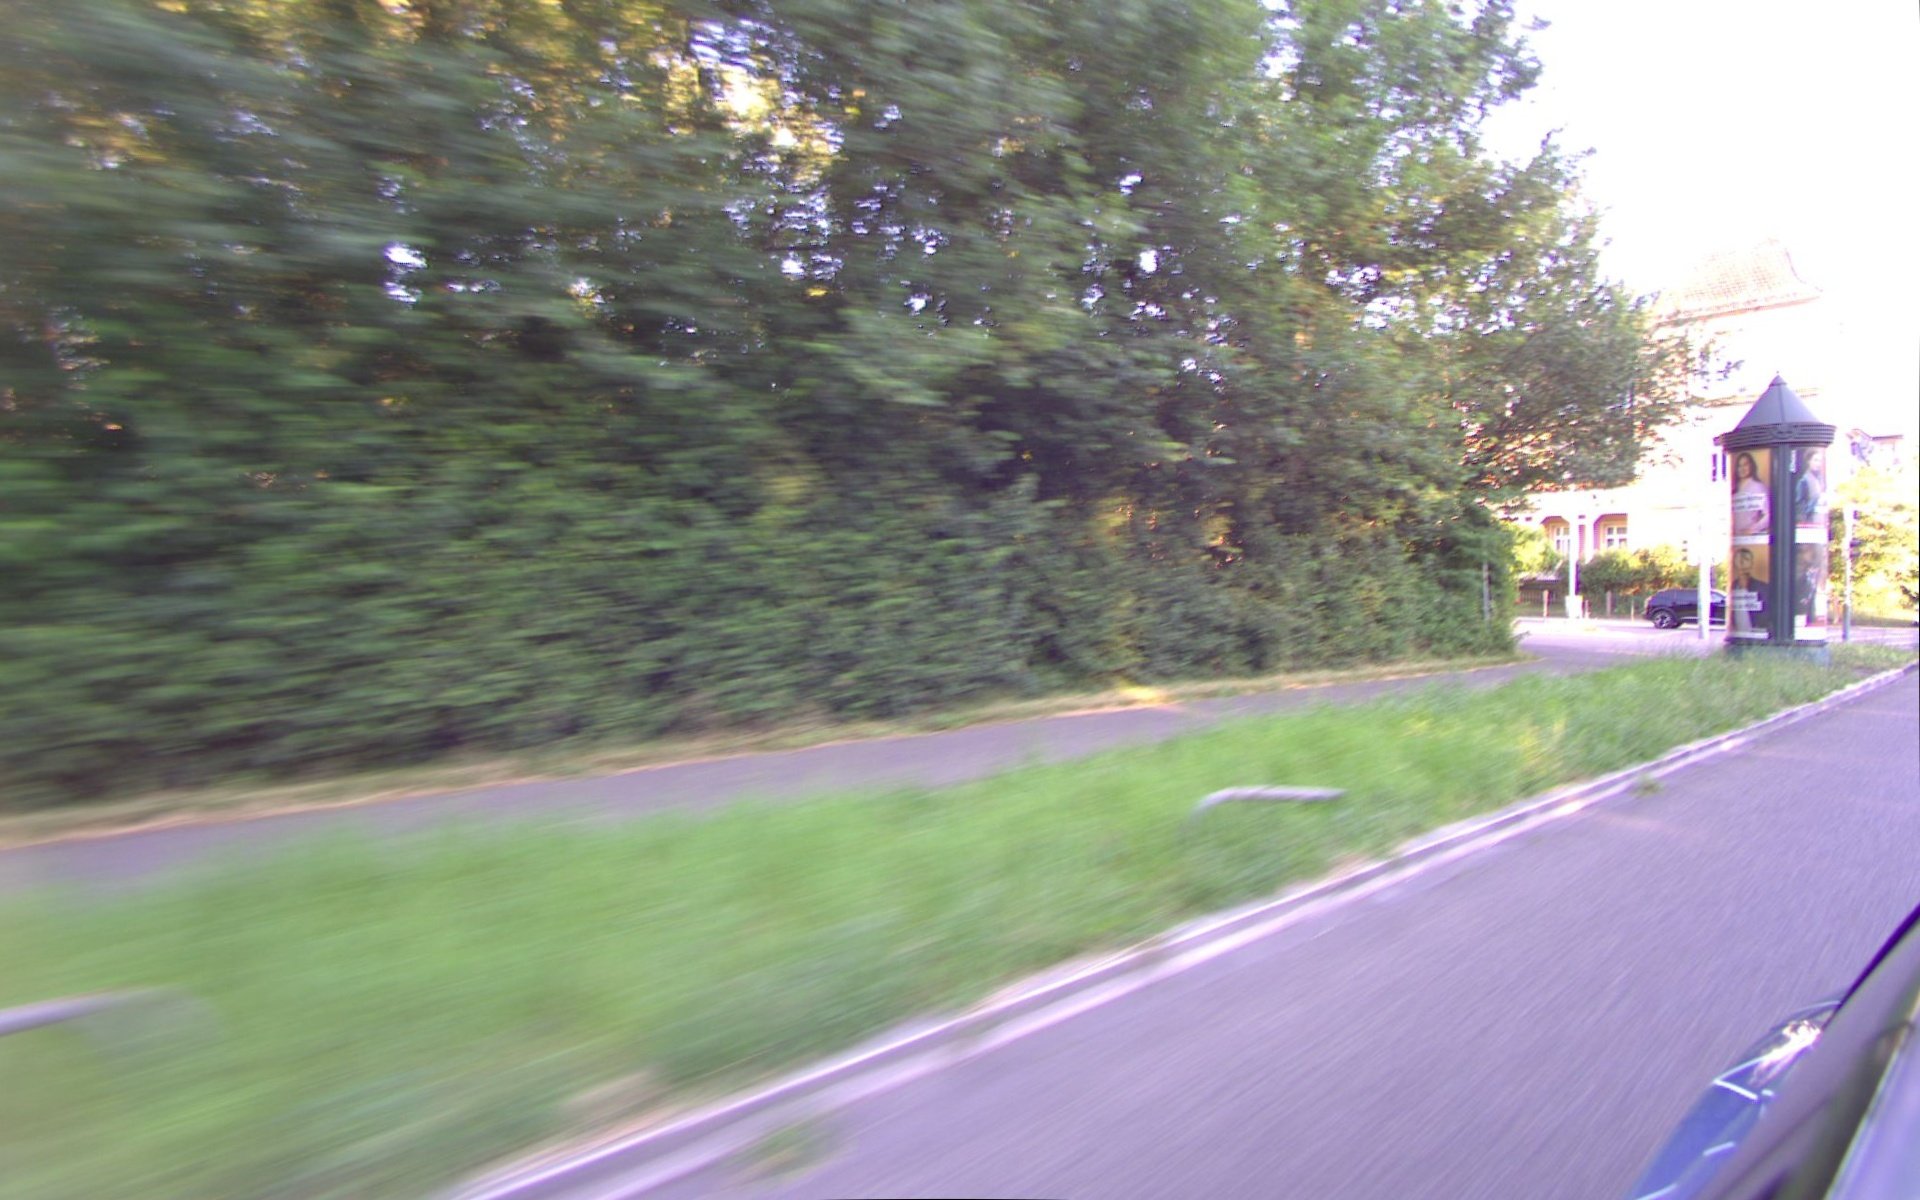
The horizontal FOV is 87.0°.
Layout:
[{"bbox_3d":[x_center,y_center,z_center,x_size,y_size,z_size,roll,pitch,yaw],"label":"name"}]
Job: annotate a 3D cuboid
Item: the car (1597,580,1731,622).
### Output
[{"bbox_3d":[27.202,-0.006,39.169,1.655,1.555,3.993,0,1,-41],"label":"car"}]
